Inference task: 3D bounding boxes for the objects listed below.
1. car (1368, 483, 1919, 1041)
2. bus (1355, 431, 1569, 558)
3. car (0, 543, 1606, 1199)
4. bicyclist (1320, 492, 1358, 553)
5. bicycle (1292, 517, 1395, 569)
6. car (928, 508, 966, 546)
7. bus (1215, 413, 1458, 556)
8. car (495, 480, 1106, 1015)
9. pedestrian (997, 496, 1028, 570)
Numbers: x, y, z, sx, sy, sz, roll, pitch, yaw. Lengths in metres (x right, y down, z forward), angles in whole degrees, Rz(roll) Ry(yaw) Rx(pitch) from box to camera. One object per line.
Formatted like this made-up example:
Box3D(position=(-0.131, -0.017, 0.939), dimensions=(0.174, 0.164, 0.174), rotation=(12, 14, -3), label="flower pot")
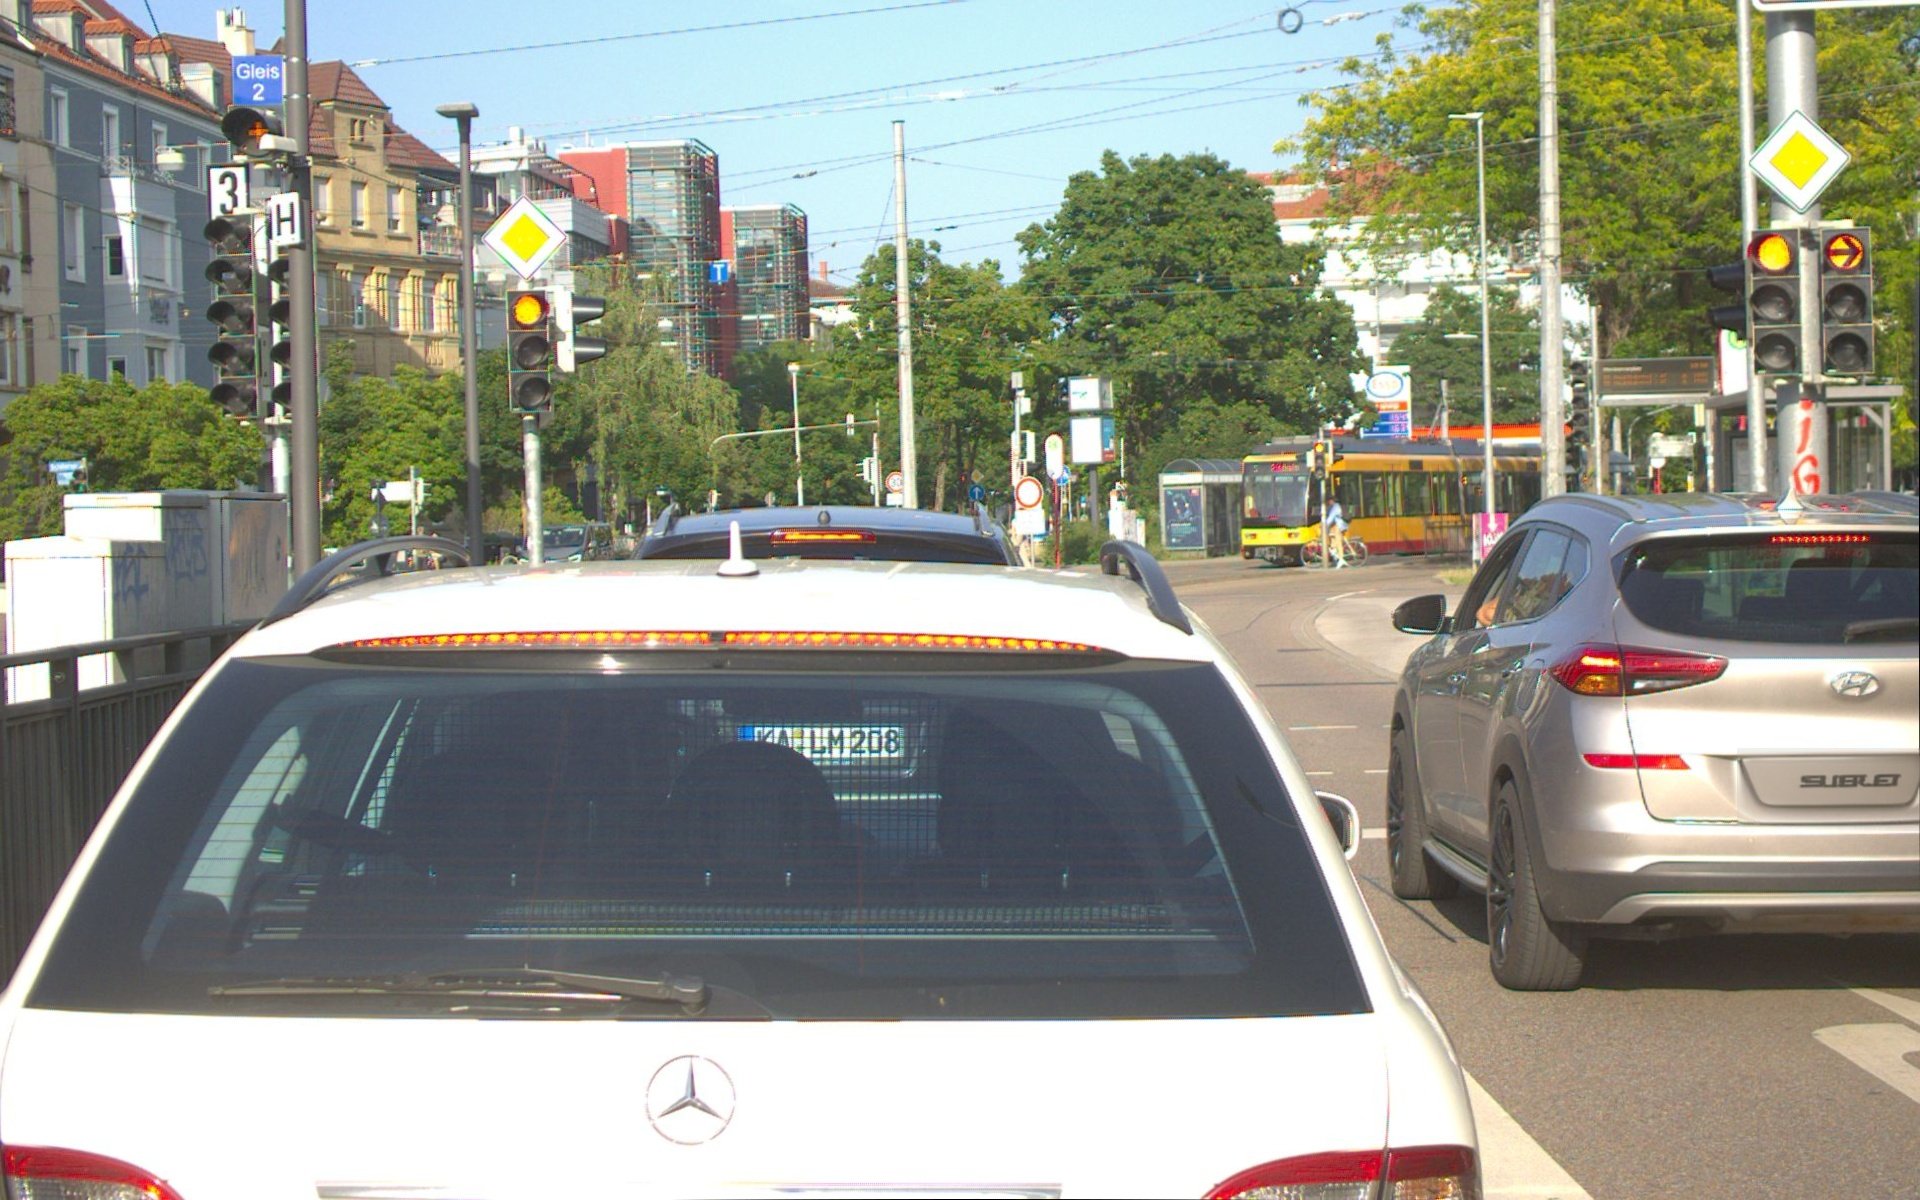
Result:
Box3D(position=(2.643, 0.438, 12.176), dimensions=(1.885, 1.645, 3.648), rotation=(-2, 1, 0), label="car")
Box3D(position=(15.649, -3.147, 106.059), dimensions=(3.113, 3.593, 12.574), rotation=(1, 1, 25), label="bus")
Box3D(position=(-0.329, 0.660, 5.005), dimensions=(1.796, 1.465, 3.648), rotation=(0, 1, -1), label="car")
Box3D(position=(9.383, -1.923, 85.146), dimensions=(0.861, 1.476, 0.789), rotation=(-1, 1, 9), label="bicyclist")
Box3D(position=(9.489, -1.404, 85.125), dimensions=(2.483, 1.209, 0.806), rotation=(-1, 1, 8), label="bicycle")
Box3D(position=(-0.720, -3.960, 186.288), dimensions=(1.993, 2.007, 4.000), rotation=(1, 1, -1), label="car")
Box3D(position=(10.540, -3.071, 94.631), dimensions=(3.112, 3.593, 12.359), rotation=(1, 1, 23), label="bus")
Box3D(position=(-0.513, 0.422, 12.536), dimensions=(1.885, 1.645, 3.648), rotation=(1, 1, 0), label="car")
Box3D(position=(1.335, -1.697, 87.331), dimensions=(0.642, 1.850, 0.551), rotation=(-1, 1, 11), label="pedestrian")
